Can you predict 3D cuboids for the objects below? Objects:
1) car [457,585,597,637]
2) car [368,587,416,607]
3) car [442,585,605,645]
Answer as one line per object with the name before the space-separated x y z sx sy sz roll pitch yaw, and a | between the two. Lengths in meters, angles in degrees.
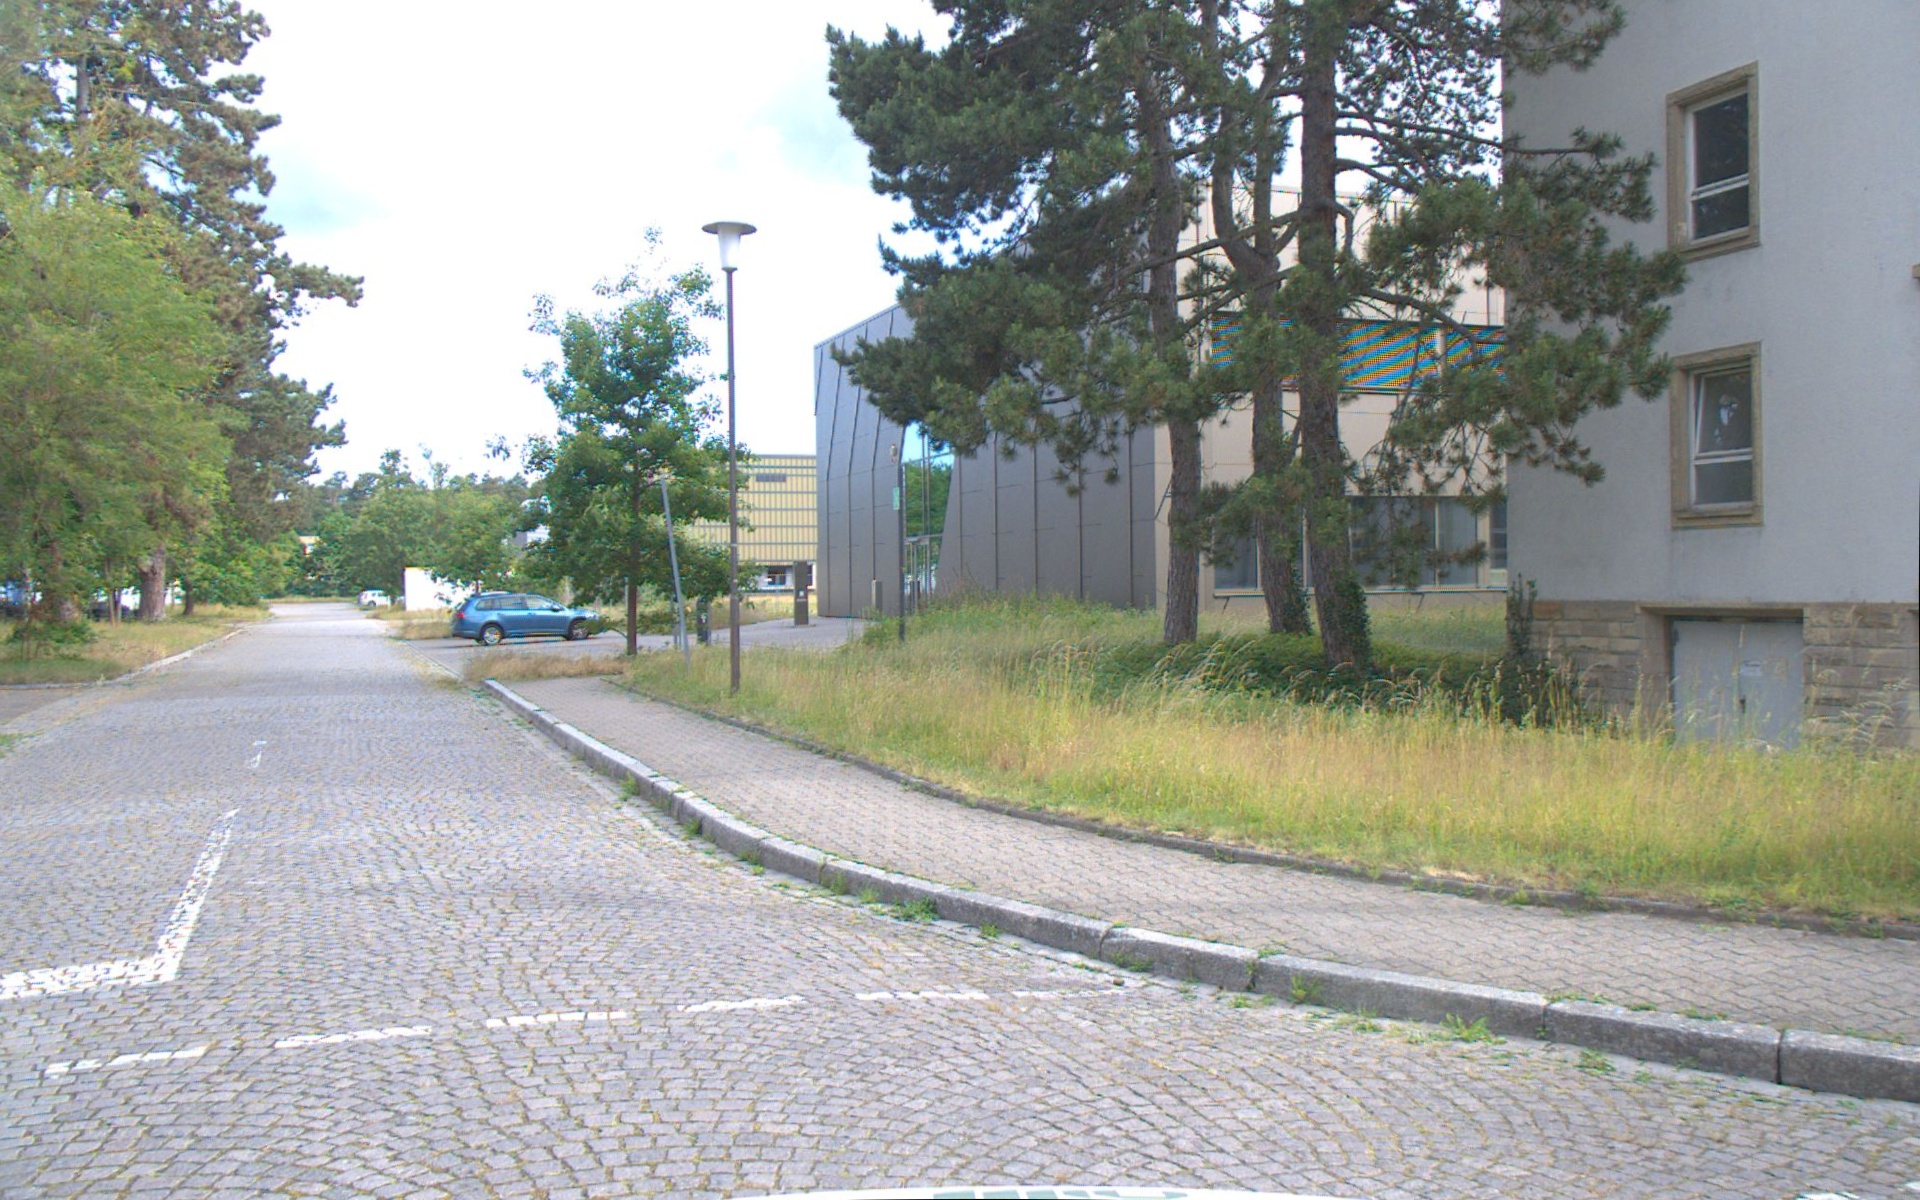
car | -14.985 0.351 57.191 4.453 1.558 1.988 -3 1 -21
car | -53.719 -0.306 156.414 4.291 1.811 1.914 -1 0 -20
car | -13.200 0.414 50.031 4.461 1.558 1.984 -3 1 -25
